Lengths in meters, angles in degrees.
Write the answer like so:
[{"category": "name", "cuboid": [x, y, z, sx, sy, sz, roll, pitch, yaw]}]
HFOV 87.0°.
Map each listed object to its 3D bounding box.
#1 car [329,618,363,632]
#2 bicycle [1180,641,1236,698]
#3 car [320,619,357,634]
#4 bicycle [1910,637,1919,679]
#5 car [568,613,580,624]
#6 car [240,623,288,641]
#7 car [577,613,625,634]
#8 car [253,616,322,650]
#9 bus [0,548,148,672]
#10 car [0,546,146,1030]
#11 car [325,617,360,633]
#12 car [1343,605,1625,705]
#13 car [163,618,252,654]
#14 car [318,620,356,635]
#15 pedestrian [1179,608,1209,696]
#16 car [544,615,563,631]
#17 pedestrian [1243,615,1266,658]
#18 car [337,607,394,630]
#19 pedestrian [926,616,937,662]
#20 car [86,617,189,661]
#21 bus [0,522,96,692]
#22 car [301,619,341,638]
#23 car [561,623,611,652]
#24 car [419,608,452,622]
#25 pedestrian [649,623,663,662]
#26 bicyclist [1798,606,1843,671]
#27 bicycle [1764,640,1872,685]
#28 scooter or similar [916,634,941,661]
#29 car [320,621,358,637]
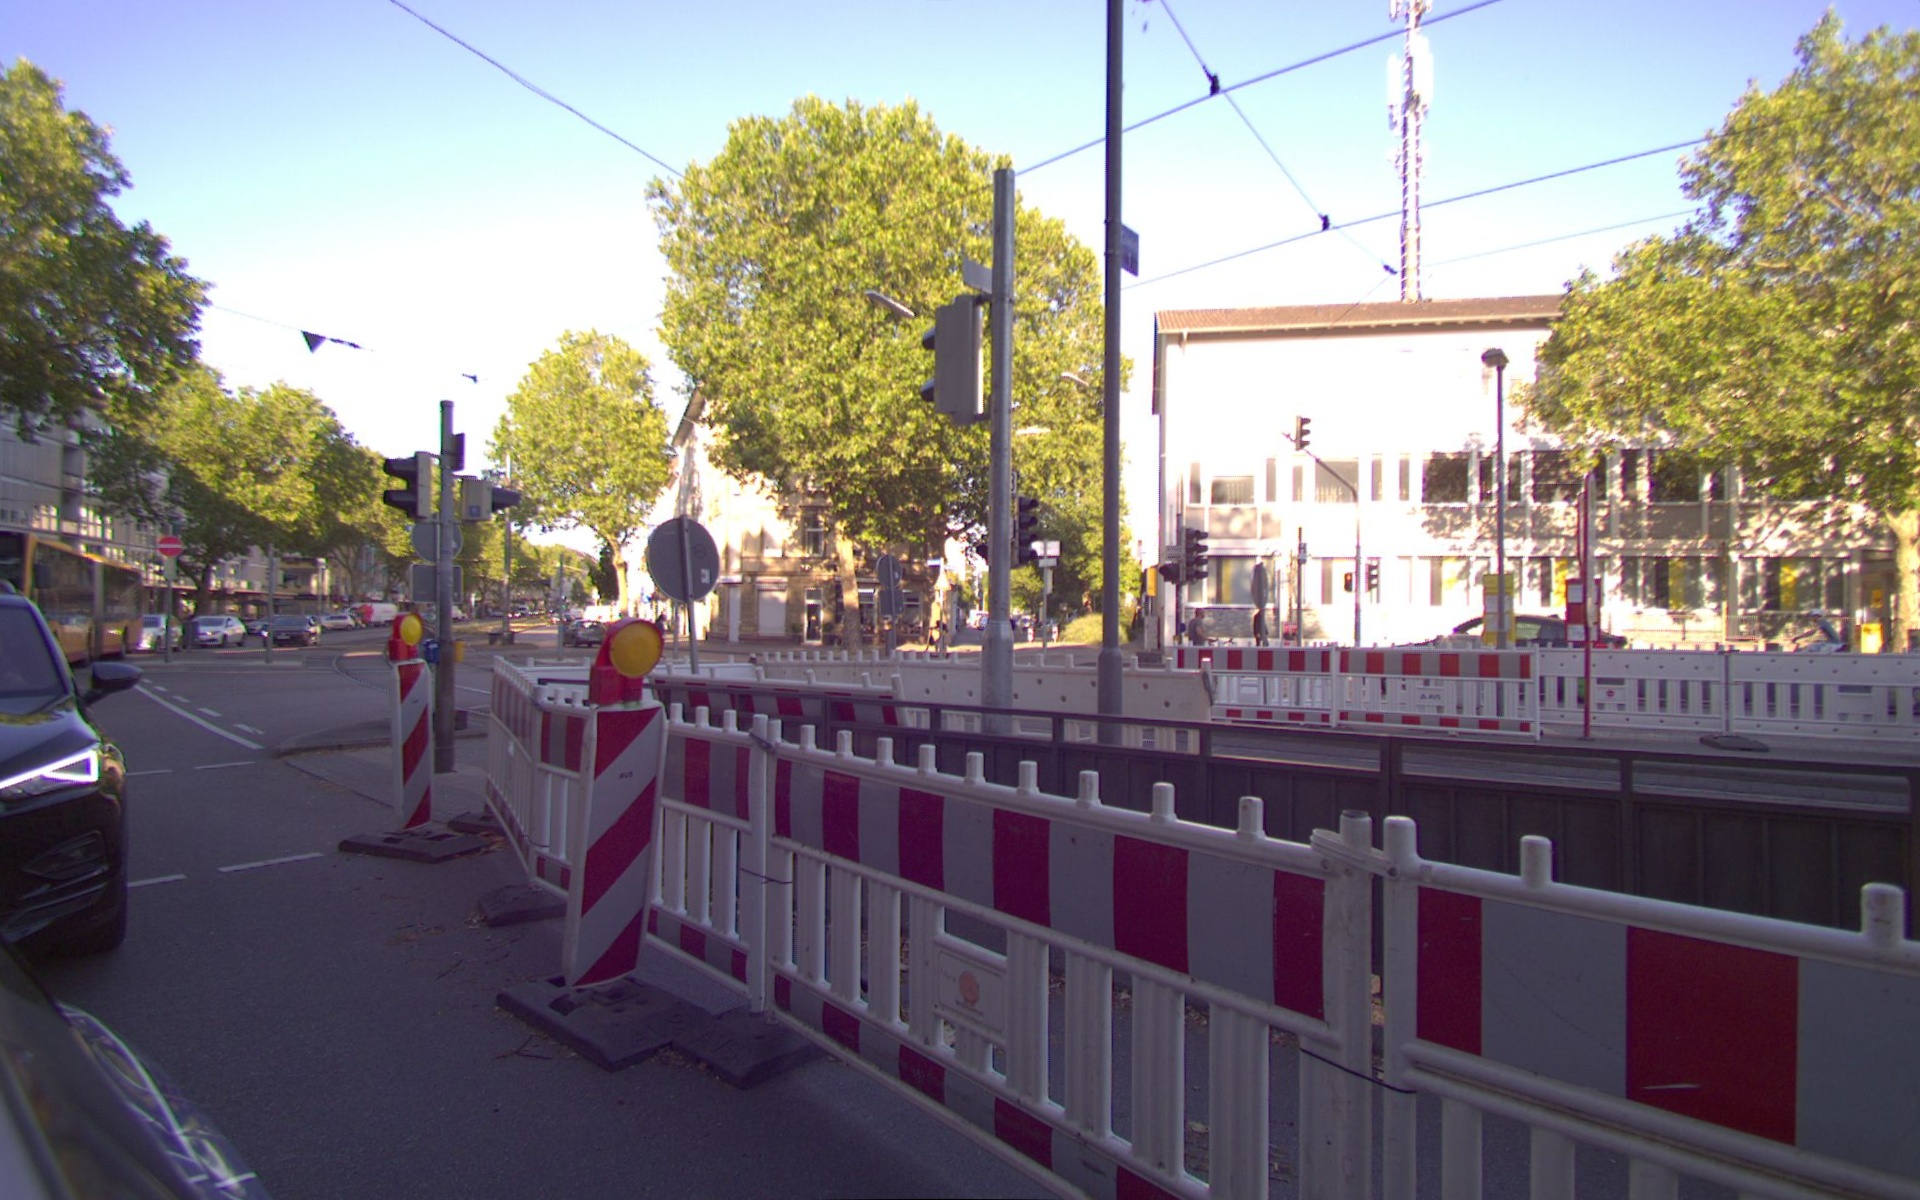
[{"category": "car", "cuboid": [-59.571, 2.388, 98.163, 1.201, 1.355, 2.592, 0, -1, 43]}, {"category": "bicycle", "cuboid": [4.955, 1.381, 20.218, 1.086, 1.101, 0.243, 0, -1, 19]}, {"category": "car", "cuboid": [-56.568, 2.397, 92.123, 1.201, 1.290, 2.592, 0, -1, 43]}, {"category": "bicycle", "cuboid": [22.016, 1.295, 22.354, 1.423, 0.920, 0.454, 0, -1, 24]}, {"category": "car", "cuboid": [-68.002, 3.231, 178.195, 1.875, 1.918, 4.013, 1, -1, -21]}, {"category": "car", "cuboid": [-50.924, 2.320, 74.087, 1.198, 1.226, 2.599, 0, -1, 34]}, {"category": "car", "cuboid": [-34.252, 2.210, 96.601, 1.994, 1.929, 3.954, -1, -2, 33]}, {"category": "car", "cuboid": [-31.728, 1.513, 47.867, 1.923, 1.486, 4.772, 1, -1, -24]}, {"category": "bus", "cuboid": [-26.388, 0.342, 29.847, 2.708, 3.127, 9.523, 1, -2, -32]}, {"category": "car", "cuboid": [-5.210, 0.679, 4.641, 4.301, 1.670, 1.823, -1, -1, 45]}, {"category": "car", "cuboid": [-58.167, 2.355, 95.330, 1.201, 1.399, 2.592, 0, -1, 43]}, {"category": "car", "cuboid": [9.948, 0.974, 19.357, 4.576, 1.679, 1.878, -1, 0, 35]}, {"category": "car", "cuboid": [-34.691, 1.625, 46.806, 1.923, 1.562, 4.771, 1, -1, -19]}, {"category": "car", "cuboid": [-54.945, 2.387, 89.233, 1.201, 1.290, 2.592, 0, -1, 43]}, {"category": "pedestrian", "cuboid": [4.597, 1.014, 19.904, 0.539, 1.710, 0.515, 0, -1, 18]}, {"category": "car", "cuboid": [-49.839, 2.819, 124.165, 1.965, 1.881, 4.012, 1, -1, -19]}, {"category": "pedestrian", "cuboid": [9.489, 1.163, 32.613, 0.626, 1.367, 0.531, 0, -2, 27]}, {"category": "car", "cuboid": [-61.633, 1.912, 105.060, 1.873, 2.394, 4.817, 0, -1, 30]}, {"category": "pedestrian", "cuboid": [-1.118, 1.517, 39.209, 0.414, 1.780, 0.354, 0, -1, -1]}, {"category": "car", "cuboid": [-30.579, 1.419, 37.772, 1.880, 1.486, 4.433, 1, -1, -24]}, {"category": "bus", "cuboid": [-21.085, 0.194, 21.996, 2.710, 3.127, 9.519, 1, -2, -36]}, {"category": "car", "cuboid": [-52.382, 2.323, 82.979, 1.201, 1.484, 2.592, 0, -1, 43]}, {"category": "car", "cuboid": [-19.405, 1.902, 52.397, 1.853, 1.420, 4.013, 1, -1, -28]}, {"category": "car", "cuboid": [-77.519, 2.269, 149.523, 1.874, 2.029, 3.956, -1, -2, 32]}, {"category": "pedestrian", "cuboid": [-10.352, 1.444, 34.420, 0.359, 1.318, 0.403, 1, -2, -32]}, {"category": "bicyclist", "cuboid": [18.831, 0.837, 22.150, 0.724, 1.407, 0.514, -1, -2, 41]}, {"category": "bicycle", "cuboid": [18.777, 1.348, 22.180, 1.769, 0.927, 0.514, -1, -2, 41]}, {"category": "scooter or similar", "cuboid": [-1.219, 1.829, 38.978, 0.968, 1.047, 0.308, 0, -1, 0]}, {"category": "car", "cuboid": [-53.412, 2.484, 87.029, 1.201, 1.290, 2.592, 0, -1, 43]}]
